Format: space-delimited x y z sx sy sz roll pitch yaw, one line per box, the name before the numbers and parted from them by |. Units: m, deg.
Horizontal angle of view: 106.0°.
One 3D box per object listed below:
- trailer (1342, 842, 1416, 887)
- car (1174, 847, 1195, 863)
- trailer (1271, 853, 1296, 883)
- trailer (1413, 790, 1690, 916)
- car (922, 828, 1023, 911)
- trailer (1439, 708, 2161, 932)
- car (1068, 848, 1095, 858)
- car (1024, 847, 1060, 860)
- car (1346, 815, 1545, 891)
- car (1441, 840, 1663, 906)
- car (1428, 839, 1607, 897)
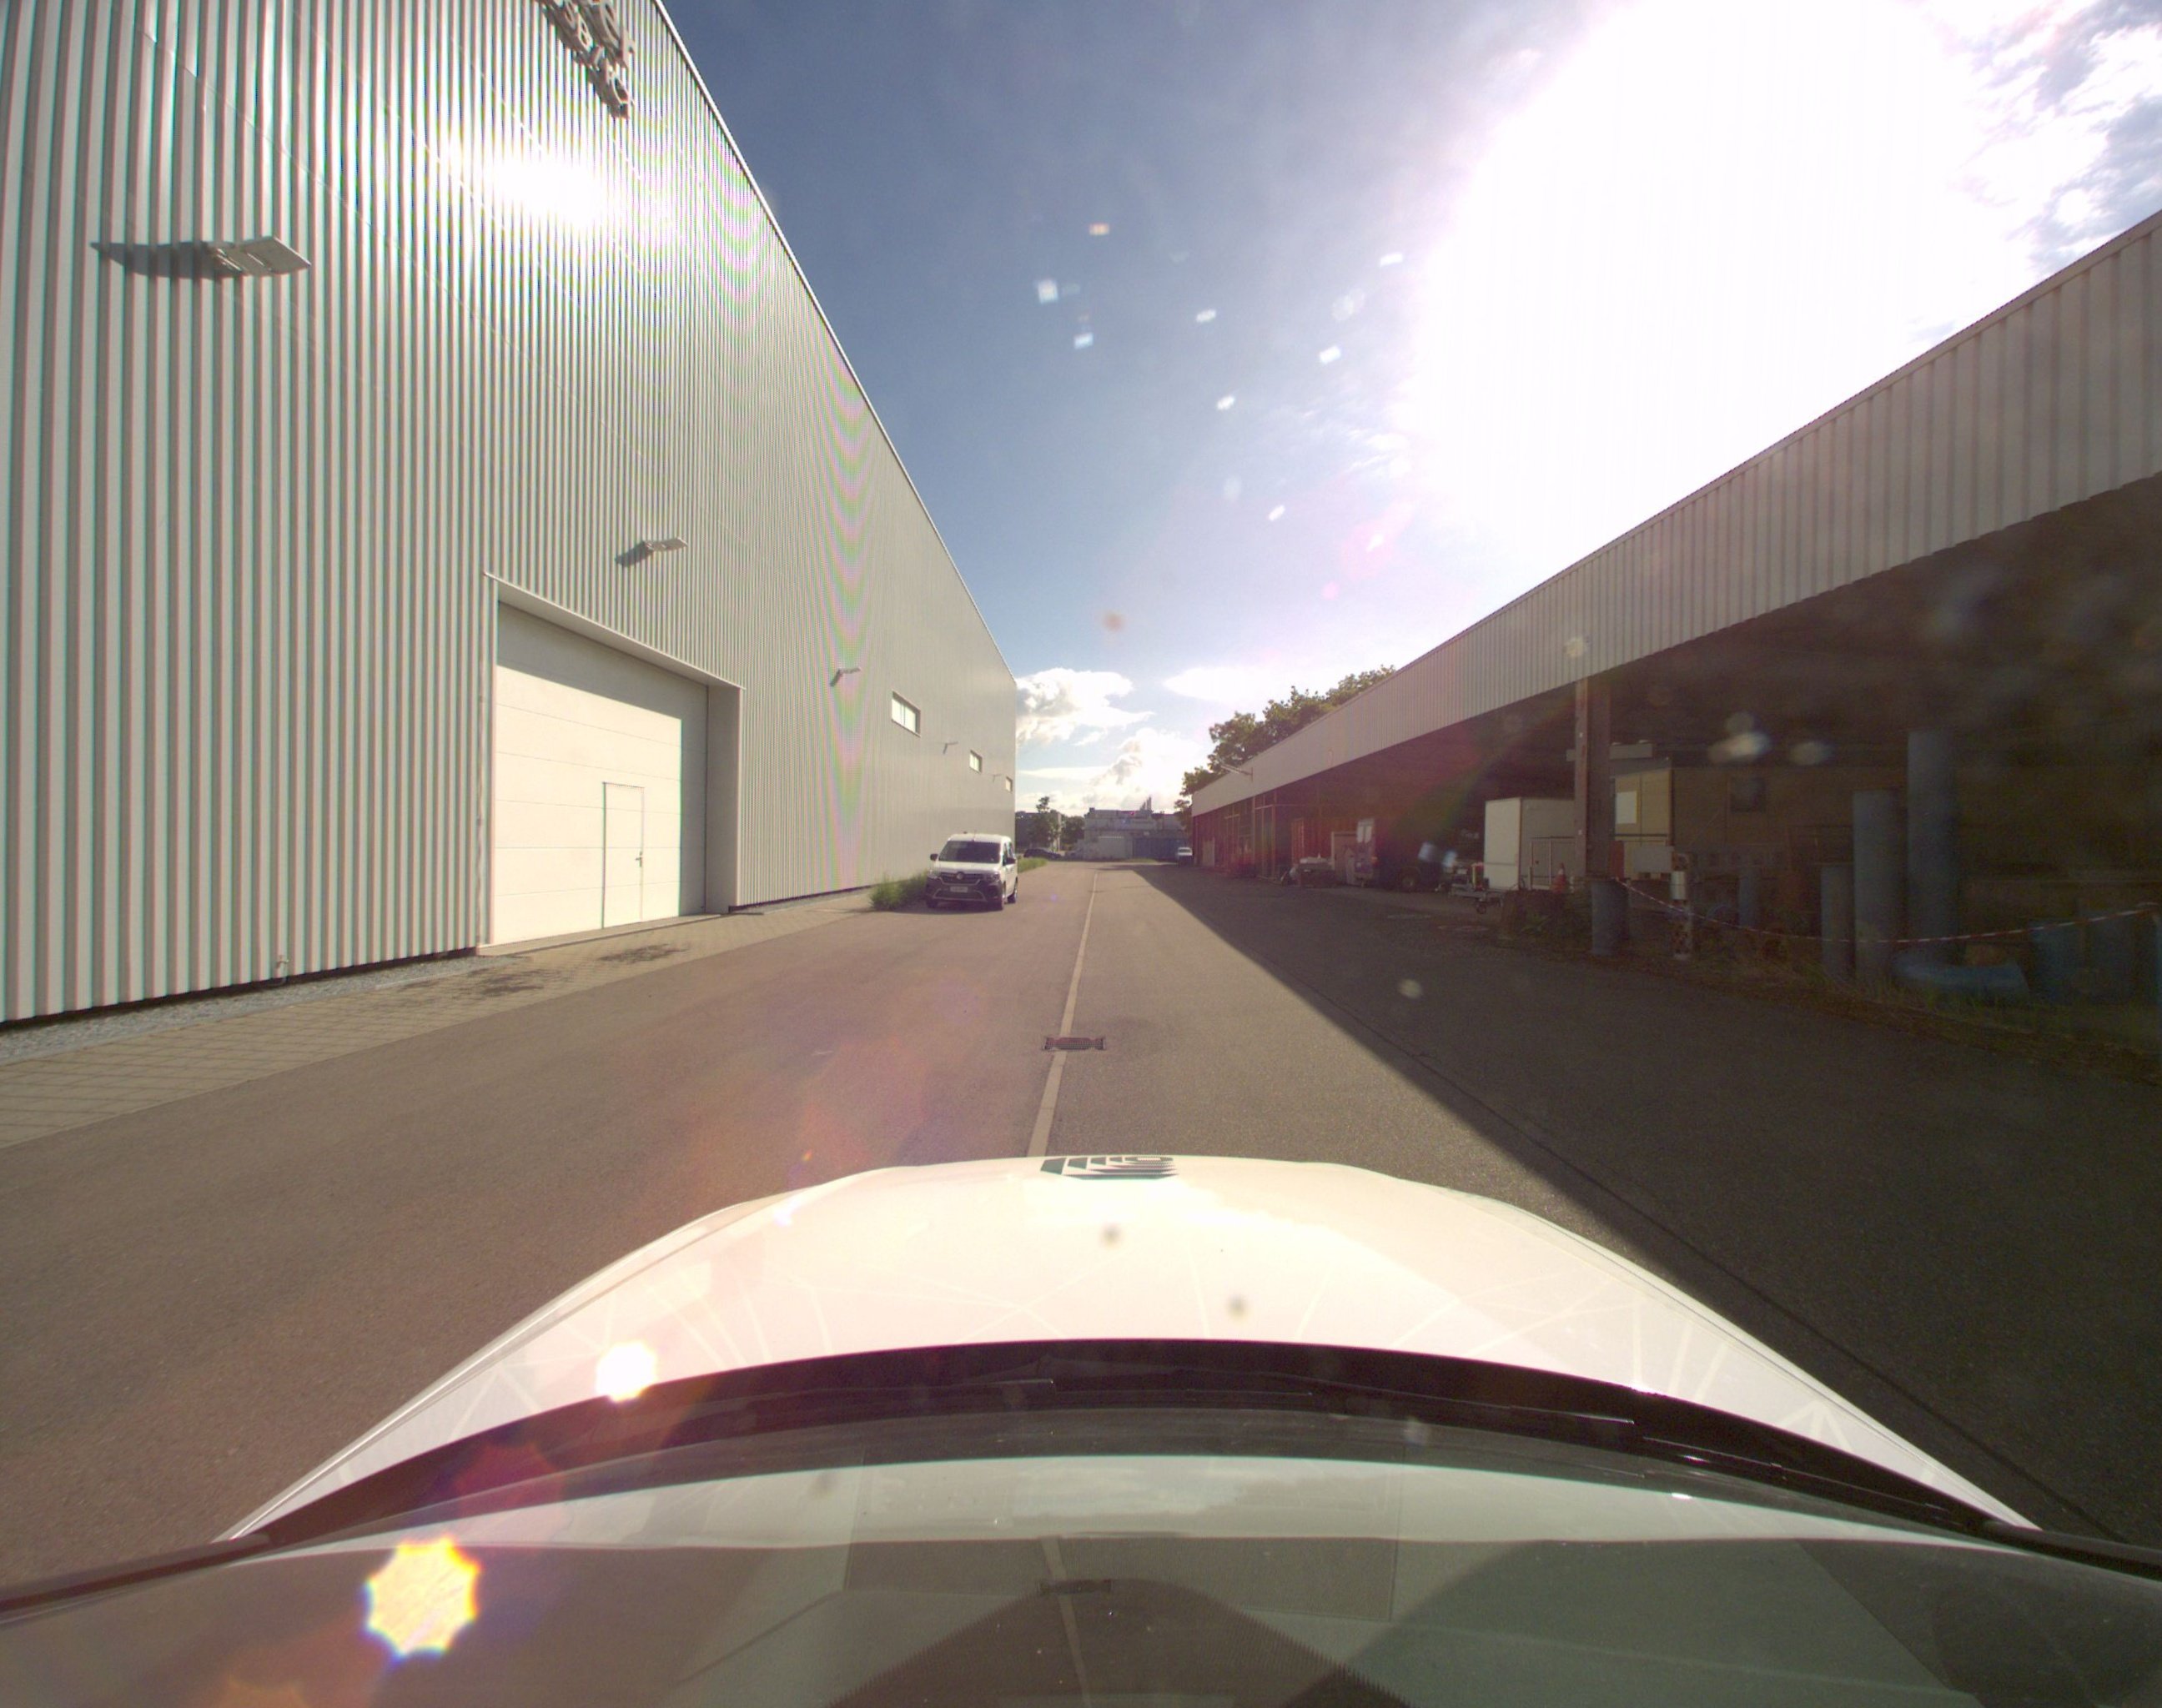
trailer | 10.265 0.356 28.188 2.028 1.466 1.741 -1 0 5
car | 11.395 0.063 89.875 1.971 1.602 4.381 -1 1 3
trailer | 7.768 0.542 31.335 0.550 1.118 1.546 -1 0 0
trailer | 9.519 -0.015 16.786 4.498 2.342 2.048 -1 0 2
car | -2.599 0.351 20.553 1.777 1.816 4.603 2 0 1
trailer | 12.010 -0.539 14.251 10.230 3.343 2.802 -1 0 1
car | 0.041 -0.120 130.405 4.288 1.457 1.824 -1 0 0
car | -4.897 -0.089 102.570 4.432 1.531 1.824 -1 0 0
car | 11.313 -0.031 25.559 5.314 2.281 2.153 0 0 0
car | 11.063 0.416 19.321 4.237 1.471 1.869 0 0 -2
car | 11.910 0.380 22.395 3.953 1.514 1.839 0 0 -2
